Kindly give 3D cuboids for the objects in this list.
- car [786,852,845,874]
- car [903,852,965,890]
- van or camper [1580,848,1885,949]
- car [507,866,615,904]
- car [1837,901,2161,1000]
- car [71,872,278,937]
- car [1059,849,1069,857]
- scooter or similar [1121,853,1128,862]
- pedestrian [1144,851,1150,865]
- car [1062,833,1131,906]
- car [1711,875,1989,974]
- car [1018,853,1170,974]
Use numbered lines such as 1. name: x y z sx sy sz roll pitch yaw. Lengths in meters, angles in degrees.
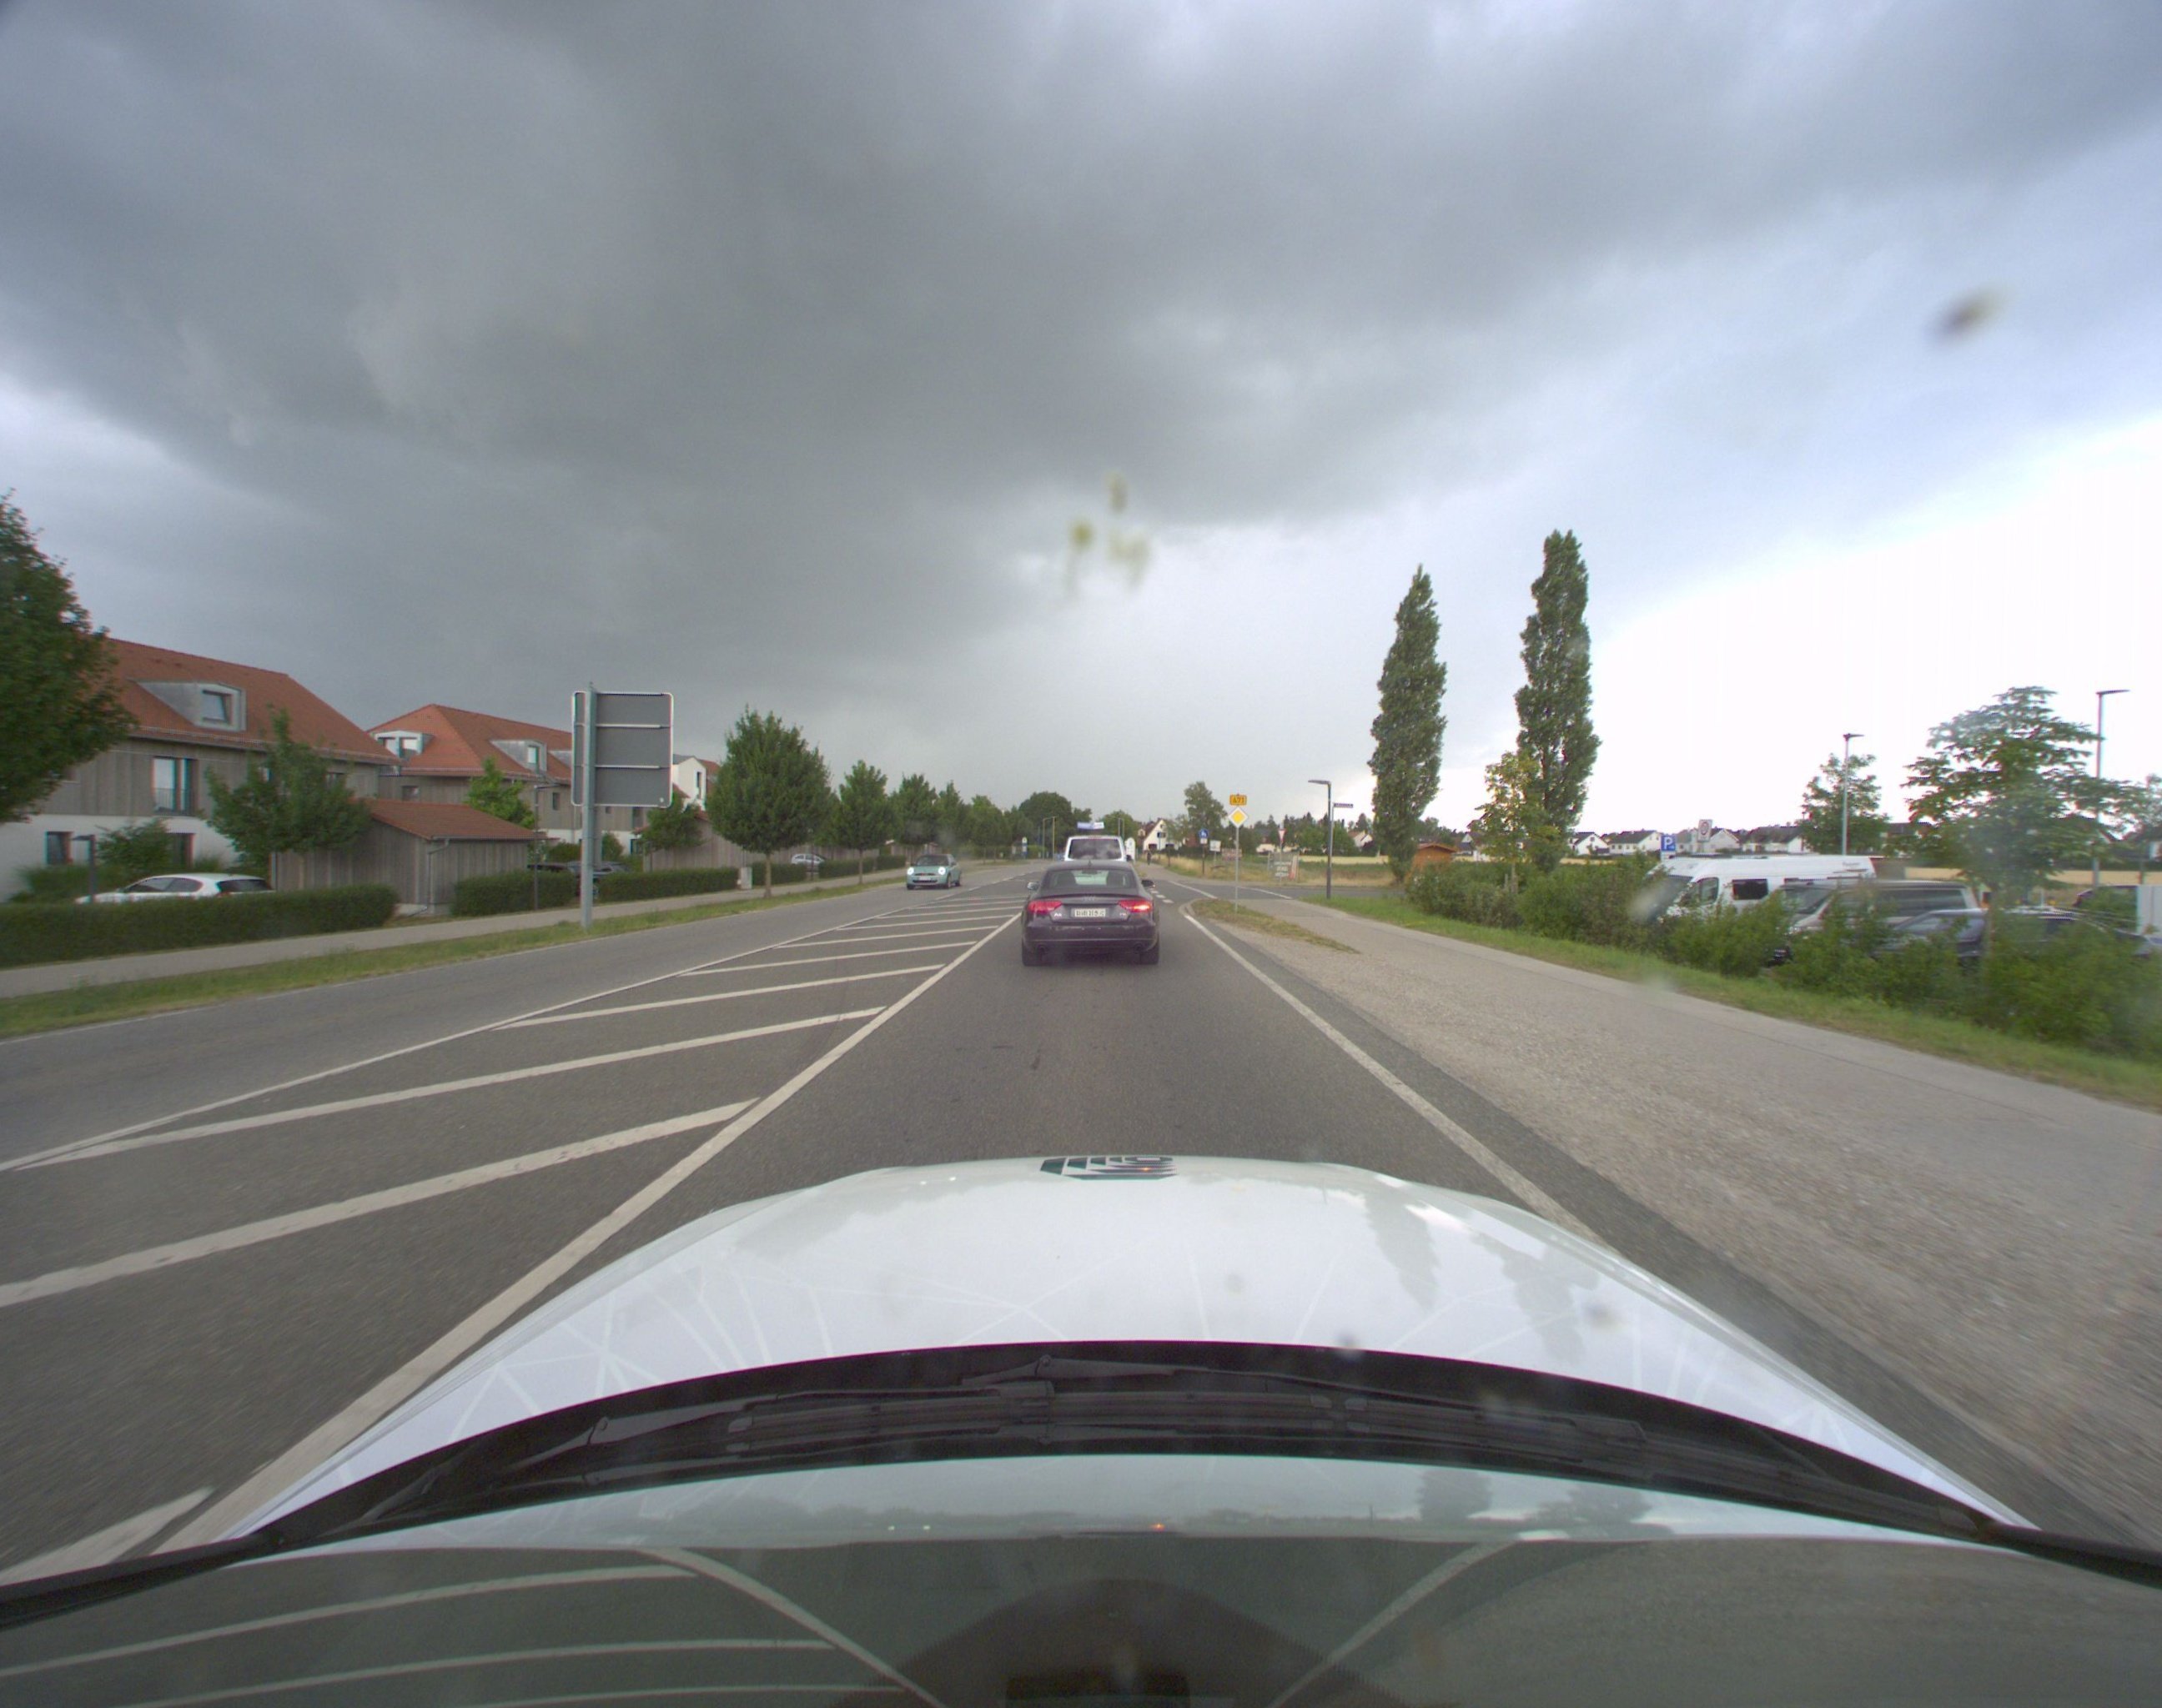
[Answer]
1. car: -21.298 0.688 65.333 3.971 1.556 2.002 2 0 2
2. car: -6.149 0.683 34.449 1.763 1.443 4.002 -1 0 2
3. van or camper: 17.252 1.118 21.819 6.448 2.464 2.280 -1 0 -1
4. car: -21.909 1.283 34.381 3.502 1.489 1.564 -1 0 1
5. car: 17.888 1.804 15.680 5.080 1.598 1.758 -1 0 -1
6. car: -23.010 1.261 20.749 3.502 1.489 1.564 -1 0 1
7. car: -3.122 -0.126 150.267 1.648 1.429 3.603 -1 0 1
8. scooter or similar: 5.731 0.466 107.620 0.845 1.103 1.094 -1 0 2
9. pedestrian: 7.405 0.467 91.350 0.621 1.525 0.680 -1 0 1
10. car: 0.417 0.392 23.886 1.820 1.913 4.000 2 0 0
11. car: 17.609 1.574 18.825 4.579 2.013 2.000 -1 0 -1
12. car: 0.058 0.712 12.069 1.821 1.388 4.383 -1 1 -3
